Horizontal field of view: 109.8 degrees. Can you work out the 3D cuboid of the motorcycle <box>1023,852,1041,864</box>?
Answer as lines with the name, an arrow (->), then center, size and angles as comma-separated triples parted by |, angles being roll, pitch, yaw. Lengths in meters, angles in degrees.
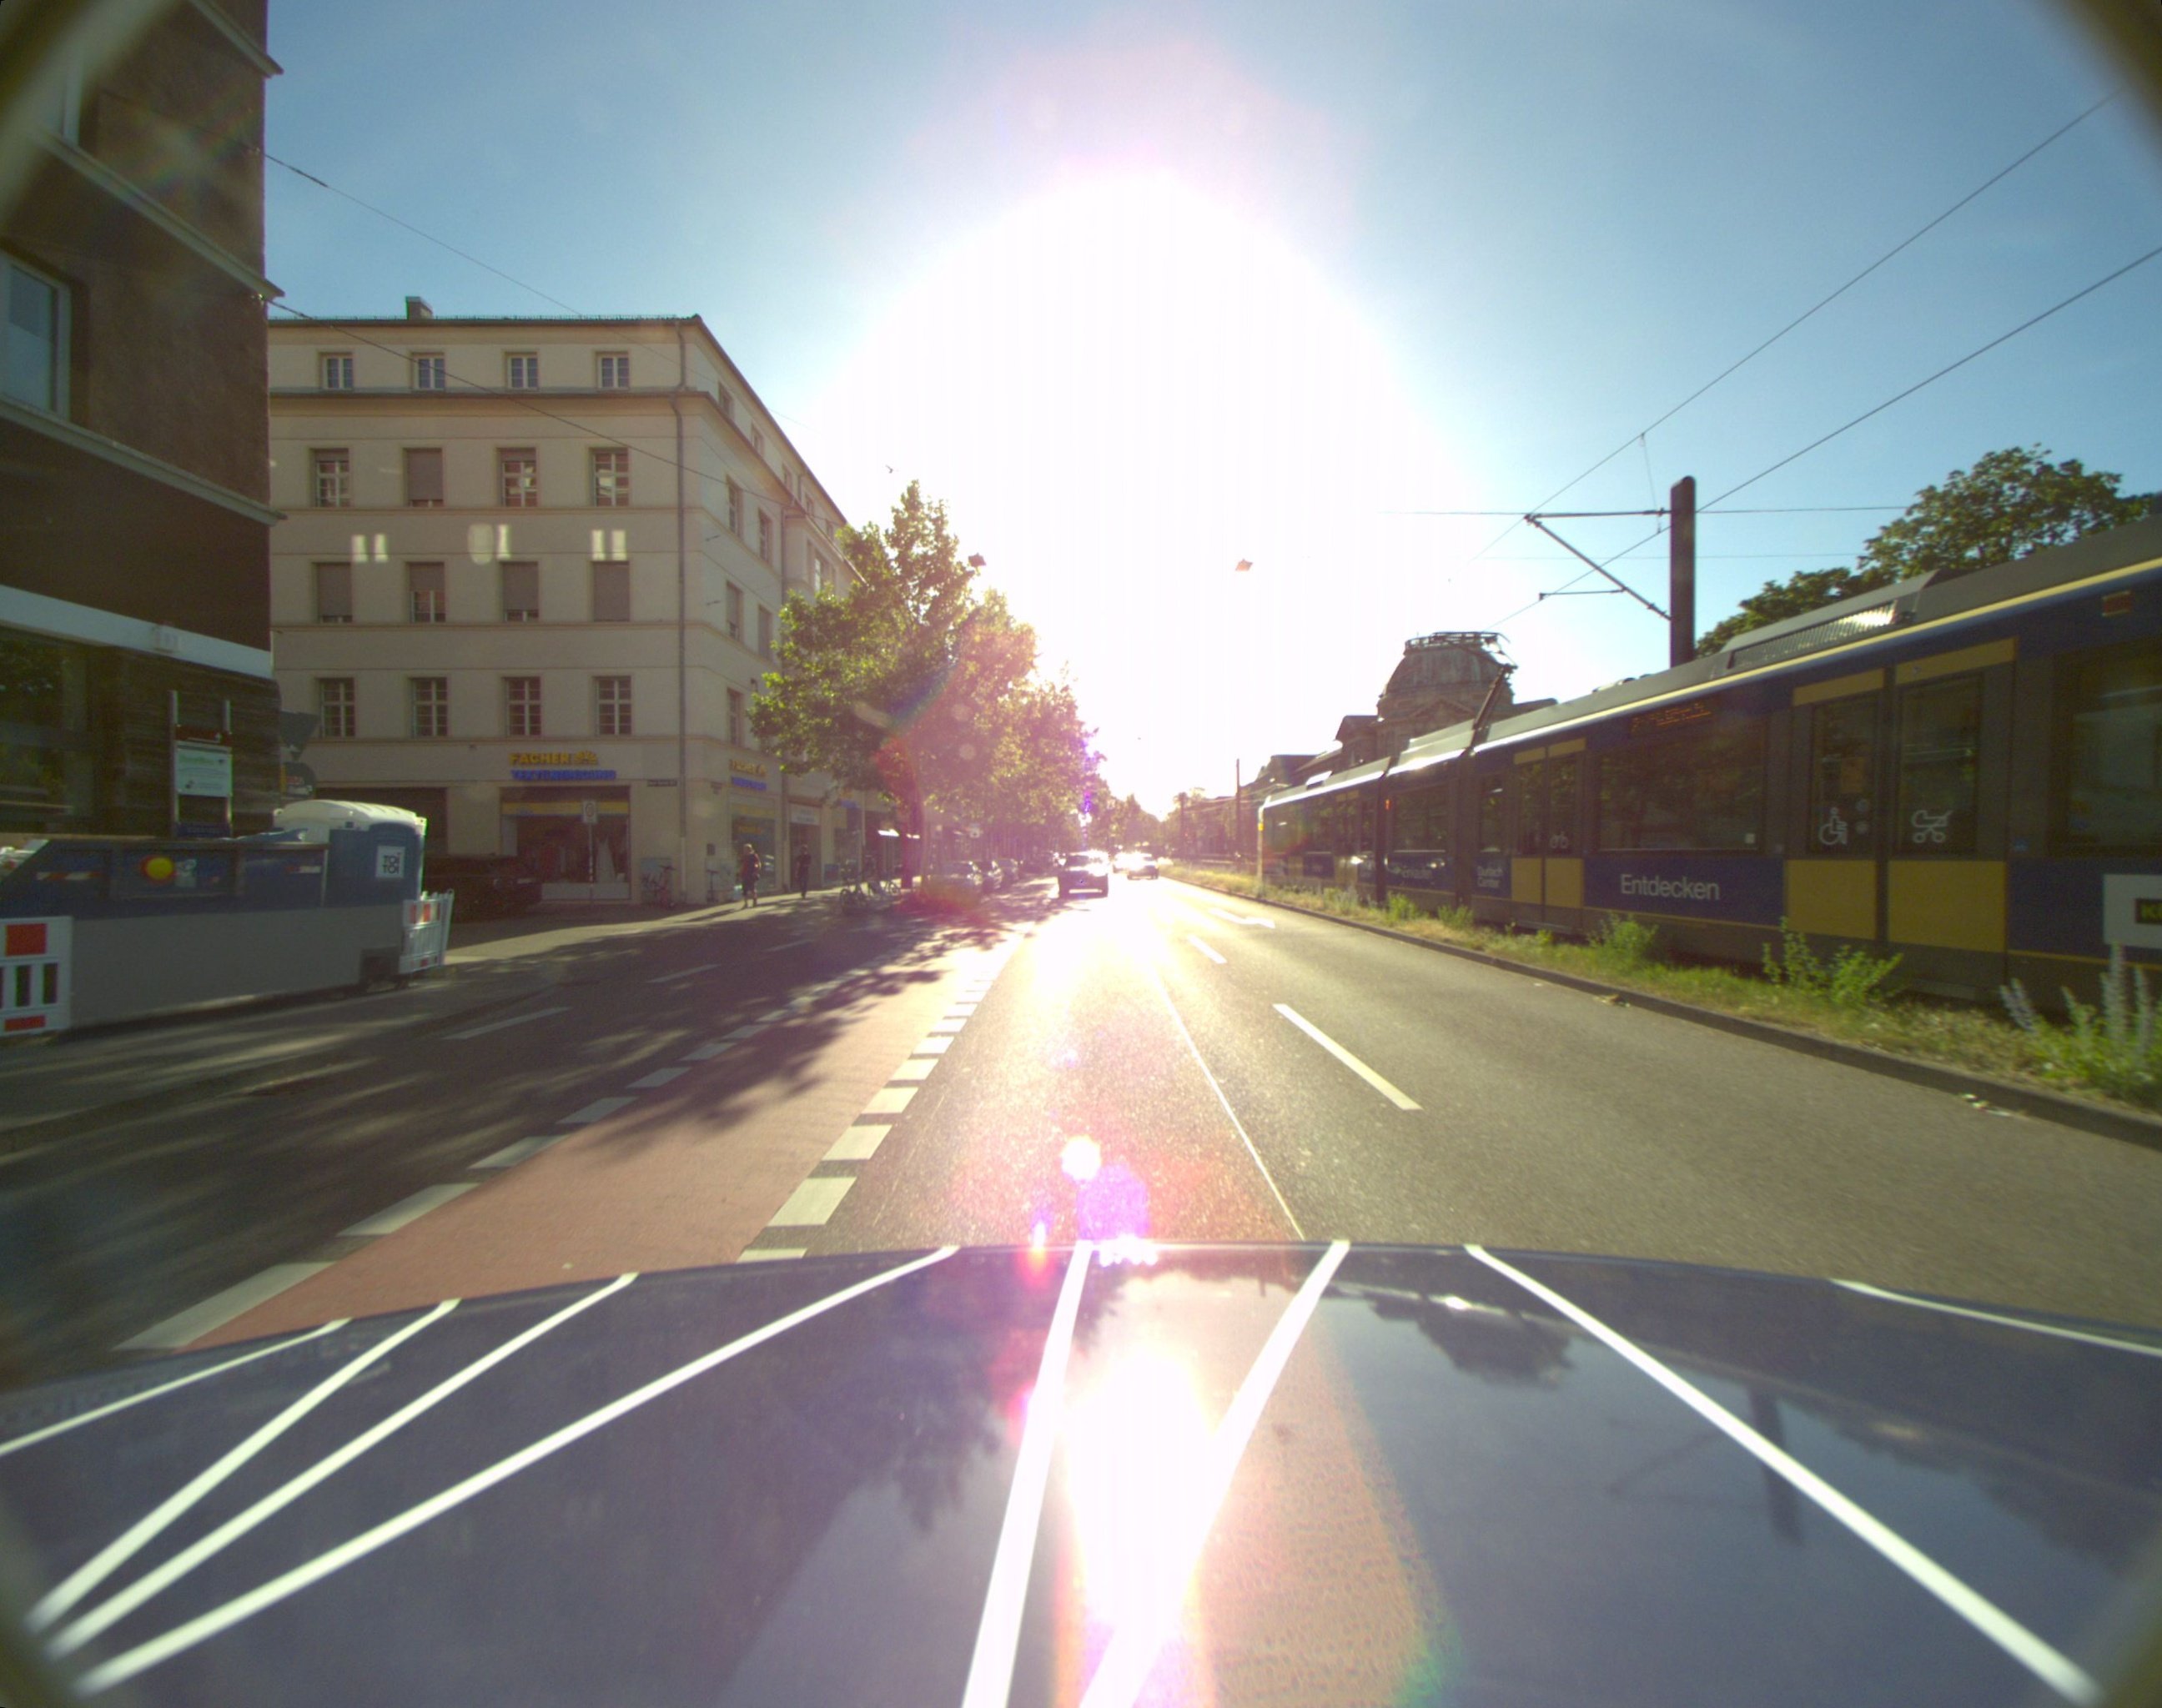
motorcycle -> -5.528, 0.466, 85.063 | 1.954, 1.224, 0.515 | -2, 1, -3

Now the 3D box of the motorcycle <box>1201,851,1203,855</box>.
motorcycle -> 24.189, -0.193, 151.944 | 0.369, 0.779, 1.522 | -2, 1, 3

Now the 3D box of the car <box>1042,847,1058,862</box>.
car -> -4.162, 0.056, 103.074 | 1.861, 2.002, 4.723 | -2, 1, 0

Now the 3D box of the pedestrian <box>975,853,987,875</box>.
pedestrian -> -8.044, 0.803, 61.255 | 0.861, 1.695, 0.916 | -1, 1, -2

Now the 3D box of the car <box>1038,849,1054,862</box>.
car -> -4.410, 0.202, 95.647 | 1.823, 1.506, 4.707 | -2, 1, -1

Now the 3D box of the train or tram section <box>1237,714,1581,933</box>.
train or tram section -> 7.329, -0.608, 20.670 | 2.936, 3.790, 14.270 | -2, 1, -1

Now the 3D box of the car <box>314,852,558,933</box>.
car -> -16.654, 0.953, 19.807 | 4.535, 1.805, 2.000 | -2, 1, 0

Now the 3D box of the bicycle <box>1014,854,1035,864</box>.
bicycle -> -6.389, 0.547, 85.985 | 2.228, 1.087, 0.455 | -2, 1, 1

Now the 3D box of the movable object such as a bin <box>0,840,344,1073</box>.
movable object such as a bin -> -9.591, 0.830, 7.224 | 1.951, 1.832, 3.478 | 0, -1, -5

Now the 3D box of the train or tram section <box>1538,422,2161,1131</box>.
train or tram section -> 7.392, -0.460, 4.247 | 2.960, 3.874, 10.800 | -2, 1, -1

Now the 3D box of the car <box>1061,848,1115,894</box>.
car -> 0.242, 0.612, 30.496 | 1.949, 1.690, 5.305 | -1, 0, 0

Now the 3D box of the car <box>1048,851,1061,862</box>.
car -> -4.086, 0.349, 119.283 | 1.672, 1.561, 4.280 | -2, 1, 2

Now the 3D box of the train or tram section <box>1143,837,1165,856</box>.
train or tram section -> 14.116, -1.395, 147.787 | 2.969, 3.463, 11.285 | -2, 0, 0

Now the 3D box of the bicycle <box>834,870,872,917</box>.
bicycle -> -6.303, 1.070, 21.088 | 0.582, 1.156, 2.236 | -3, 1, -7

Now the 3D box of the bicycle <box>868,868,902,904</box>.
bicycle -> -6.495, 1.039, 25.206 | 0.488, 1.129, 1.691 | -1, 0, 6

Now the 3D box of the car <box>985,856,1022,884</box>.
car -> -4.399, 0.874, 43.719 | 1.699, 1.494, 3.801 | 2, 0, 0

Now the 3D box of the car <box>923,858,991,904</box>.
car -> -4.593, 0.939, 28.654 | 1.794, 1.546, 4.435 | -1, 0, 0

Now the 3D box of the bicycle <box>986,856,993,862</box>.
bicycle -> -11.355, 0.639, 94.333 | 0.550, 0.769, 1.662 | 1, 1, 0

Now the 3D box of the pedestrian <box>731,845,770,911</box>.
pedestrian -> -9.613, 0.671, 22.126 | 0.715, 1.889, 0.863 | 0, 1, 0

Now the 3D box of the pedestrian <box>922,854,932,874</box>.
pedestrian -> -10.326, 0.652, 50.979 | 0.536, 1.325, 0.820 | 0, 1, 1

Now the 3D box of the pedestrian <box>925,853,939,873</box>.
pedestrian -> -10.199, 0.635, 52.038 | 0.787, 1.361, 0.857 | 0, 1, 1

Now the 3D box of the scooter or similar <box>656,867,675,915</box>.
scooter or similar -> -11.677, 1.018, 21.347 | 0.382, 1.278, 1.203 | -3, 1, -29

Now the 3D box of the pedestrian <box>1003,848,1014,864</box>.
pedestrian -> -8.835, 0.238, 92.258 | 1.090, 2.002, 1.046 | -2, 1, 1

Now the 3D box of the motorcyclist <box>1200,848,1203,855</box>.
motorcyclist -> 24.157, -0.526, 152.004 | 0.515, 1.250, 0.691 | -2, 1, 4

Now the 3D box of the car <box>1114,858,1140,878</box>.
car -> 3.627, 1.083, 60.273 | 1.798, 1.420, 4.000 | -2, 1, 1

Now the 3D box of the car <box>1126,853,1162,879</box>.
car -> 3.718, 0.685, 45.410 | 1.778, 1.440, 3.868 | -2, 0, 0

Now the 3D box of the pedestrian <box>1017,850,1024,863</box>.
pedestrian -> -8.199, 0.344, 102.836 | 0.644, 1.817, 0.896 | -2, 1, 12

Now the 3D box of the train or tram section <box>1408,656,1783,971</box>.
train or tram section -> 7.375, -0.531, 11.567 | 2.962, 3.874, 3.865 | -2, 1, -1

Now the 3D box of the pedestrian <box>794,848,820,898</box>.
pedestrian -> -9.443, 0.640, 26.196 | 0.559, 1.701, 0.770 | -1, 1, 0

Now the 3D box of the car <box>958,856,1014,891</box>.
car -> -4.487, 0.890, 36.605 | 2.043, 1.500, 4.593 | -1, 0, 0
